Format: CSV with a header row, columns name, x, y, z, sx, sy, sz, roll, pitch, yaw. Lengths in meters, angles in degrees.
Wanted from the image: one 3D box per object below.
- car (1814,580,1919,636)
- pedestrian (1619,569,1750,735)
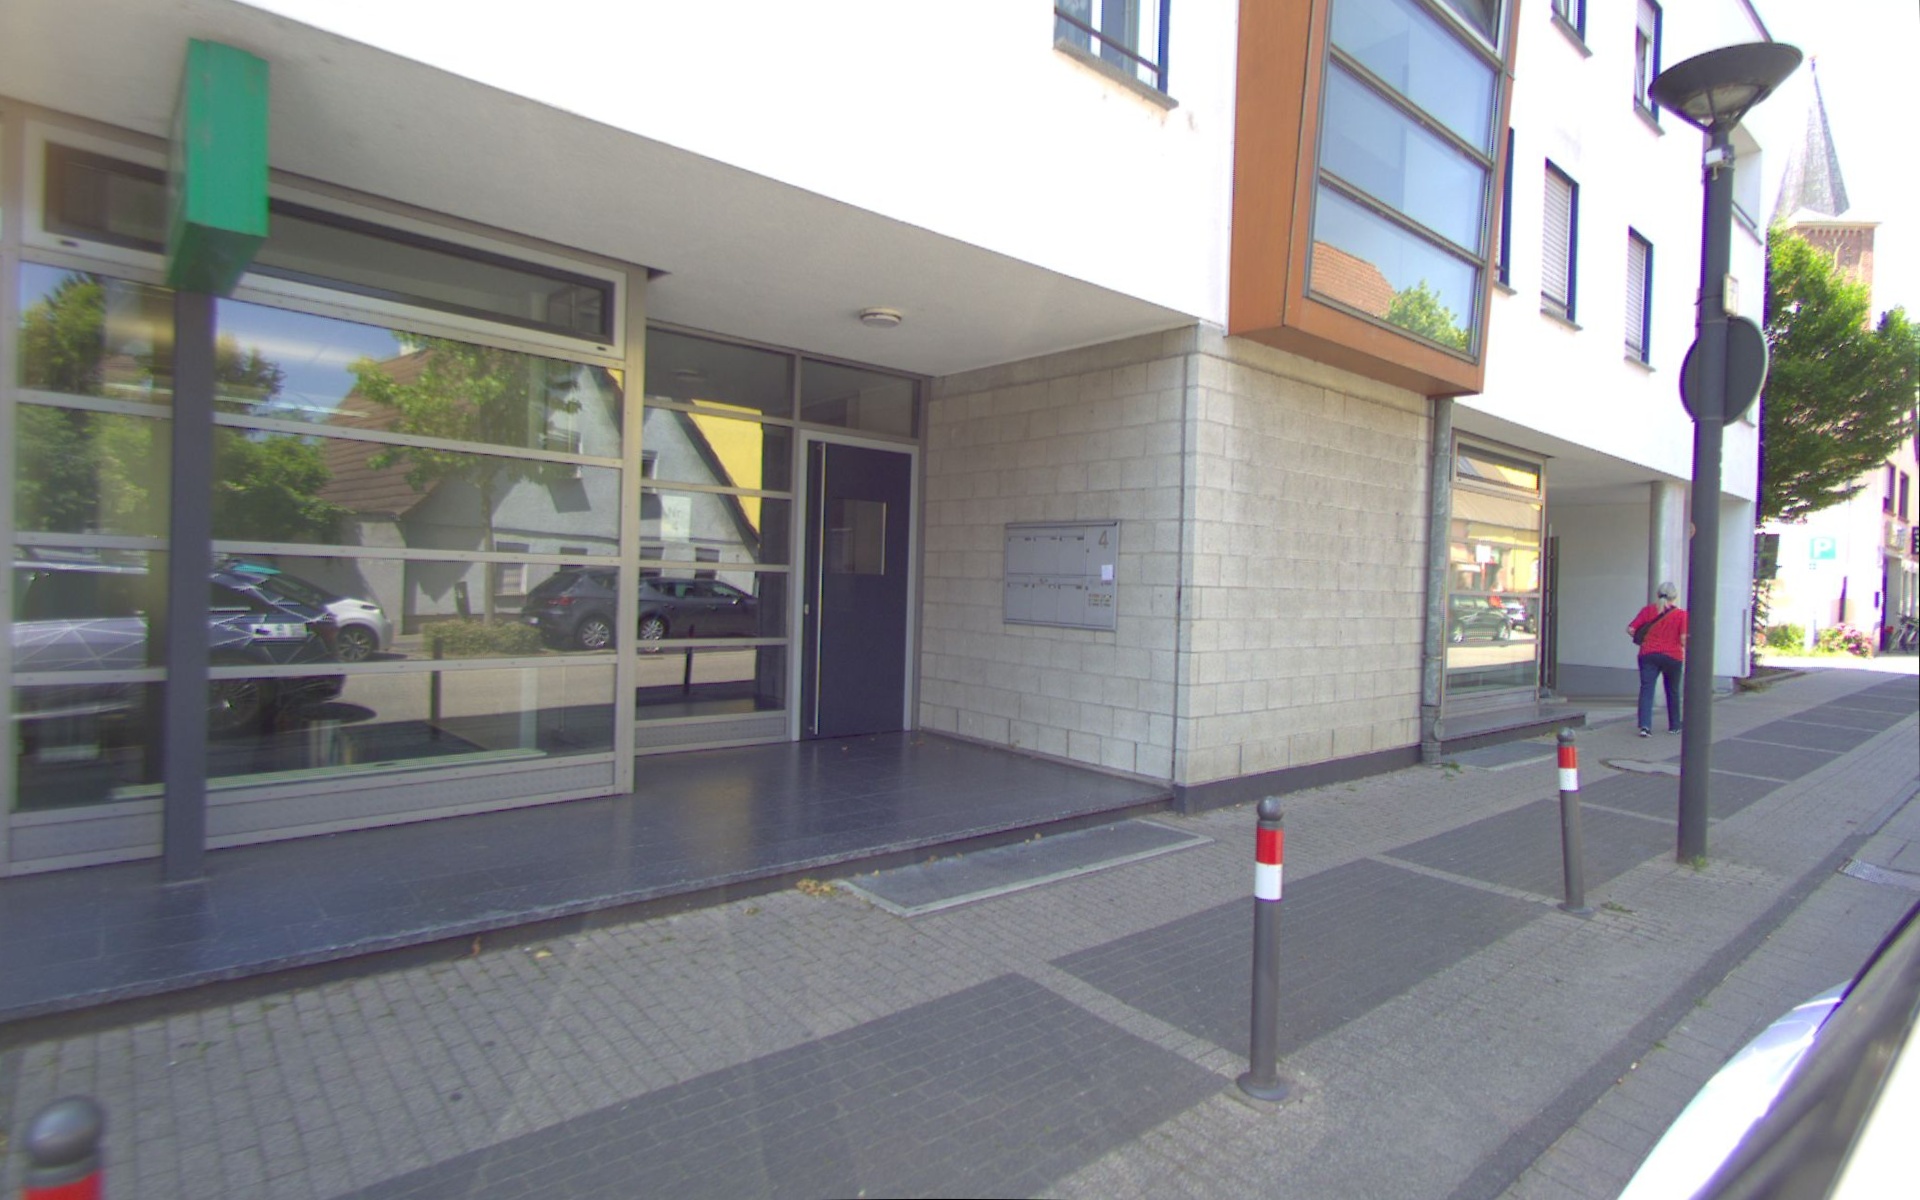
name,x,y,z,sx,sy,sz,roll,pitch,yaw
car,34.126,0.284,36.950,1.965,1.882,4.202,0,2,-41
pedestrian,7.595,0.508,10.617,0.903,1.607,0.826,0,4,-40
